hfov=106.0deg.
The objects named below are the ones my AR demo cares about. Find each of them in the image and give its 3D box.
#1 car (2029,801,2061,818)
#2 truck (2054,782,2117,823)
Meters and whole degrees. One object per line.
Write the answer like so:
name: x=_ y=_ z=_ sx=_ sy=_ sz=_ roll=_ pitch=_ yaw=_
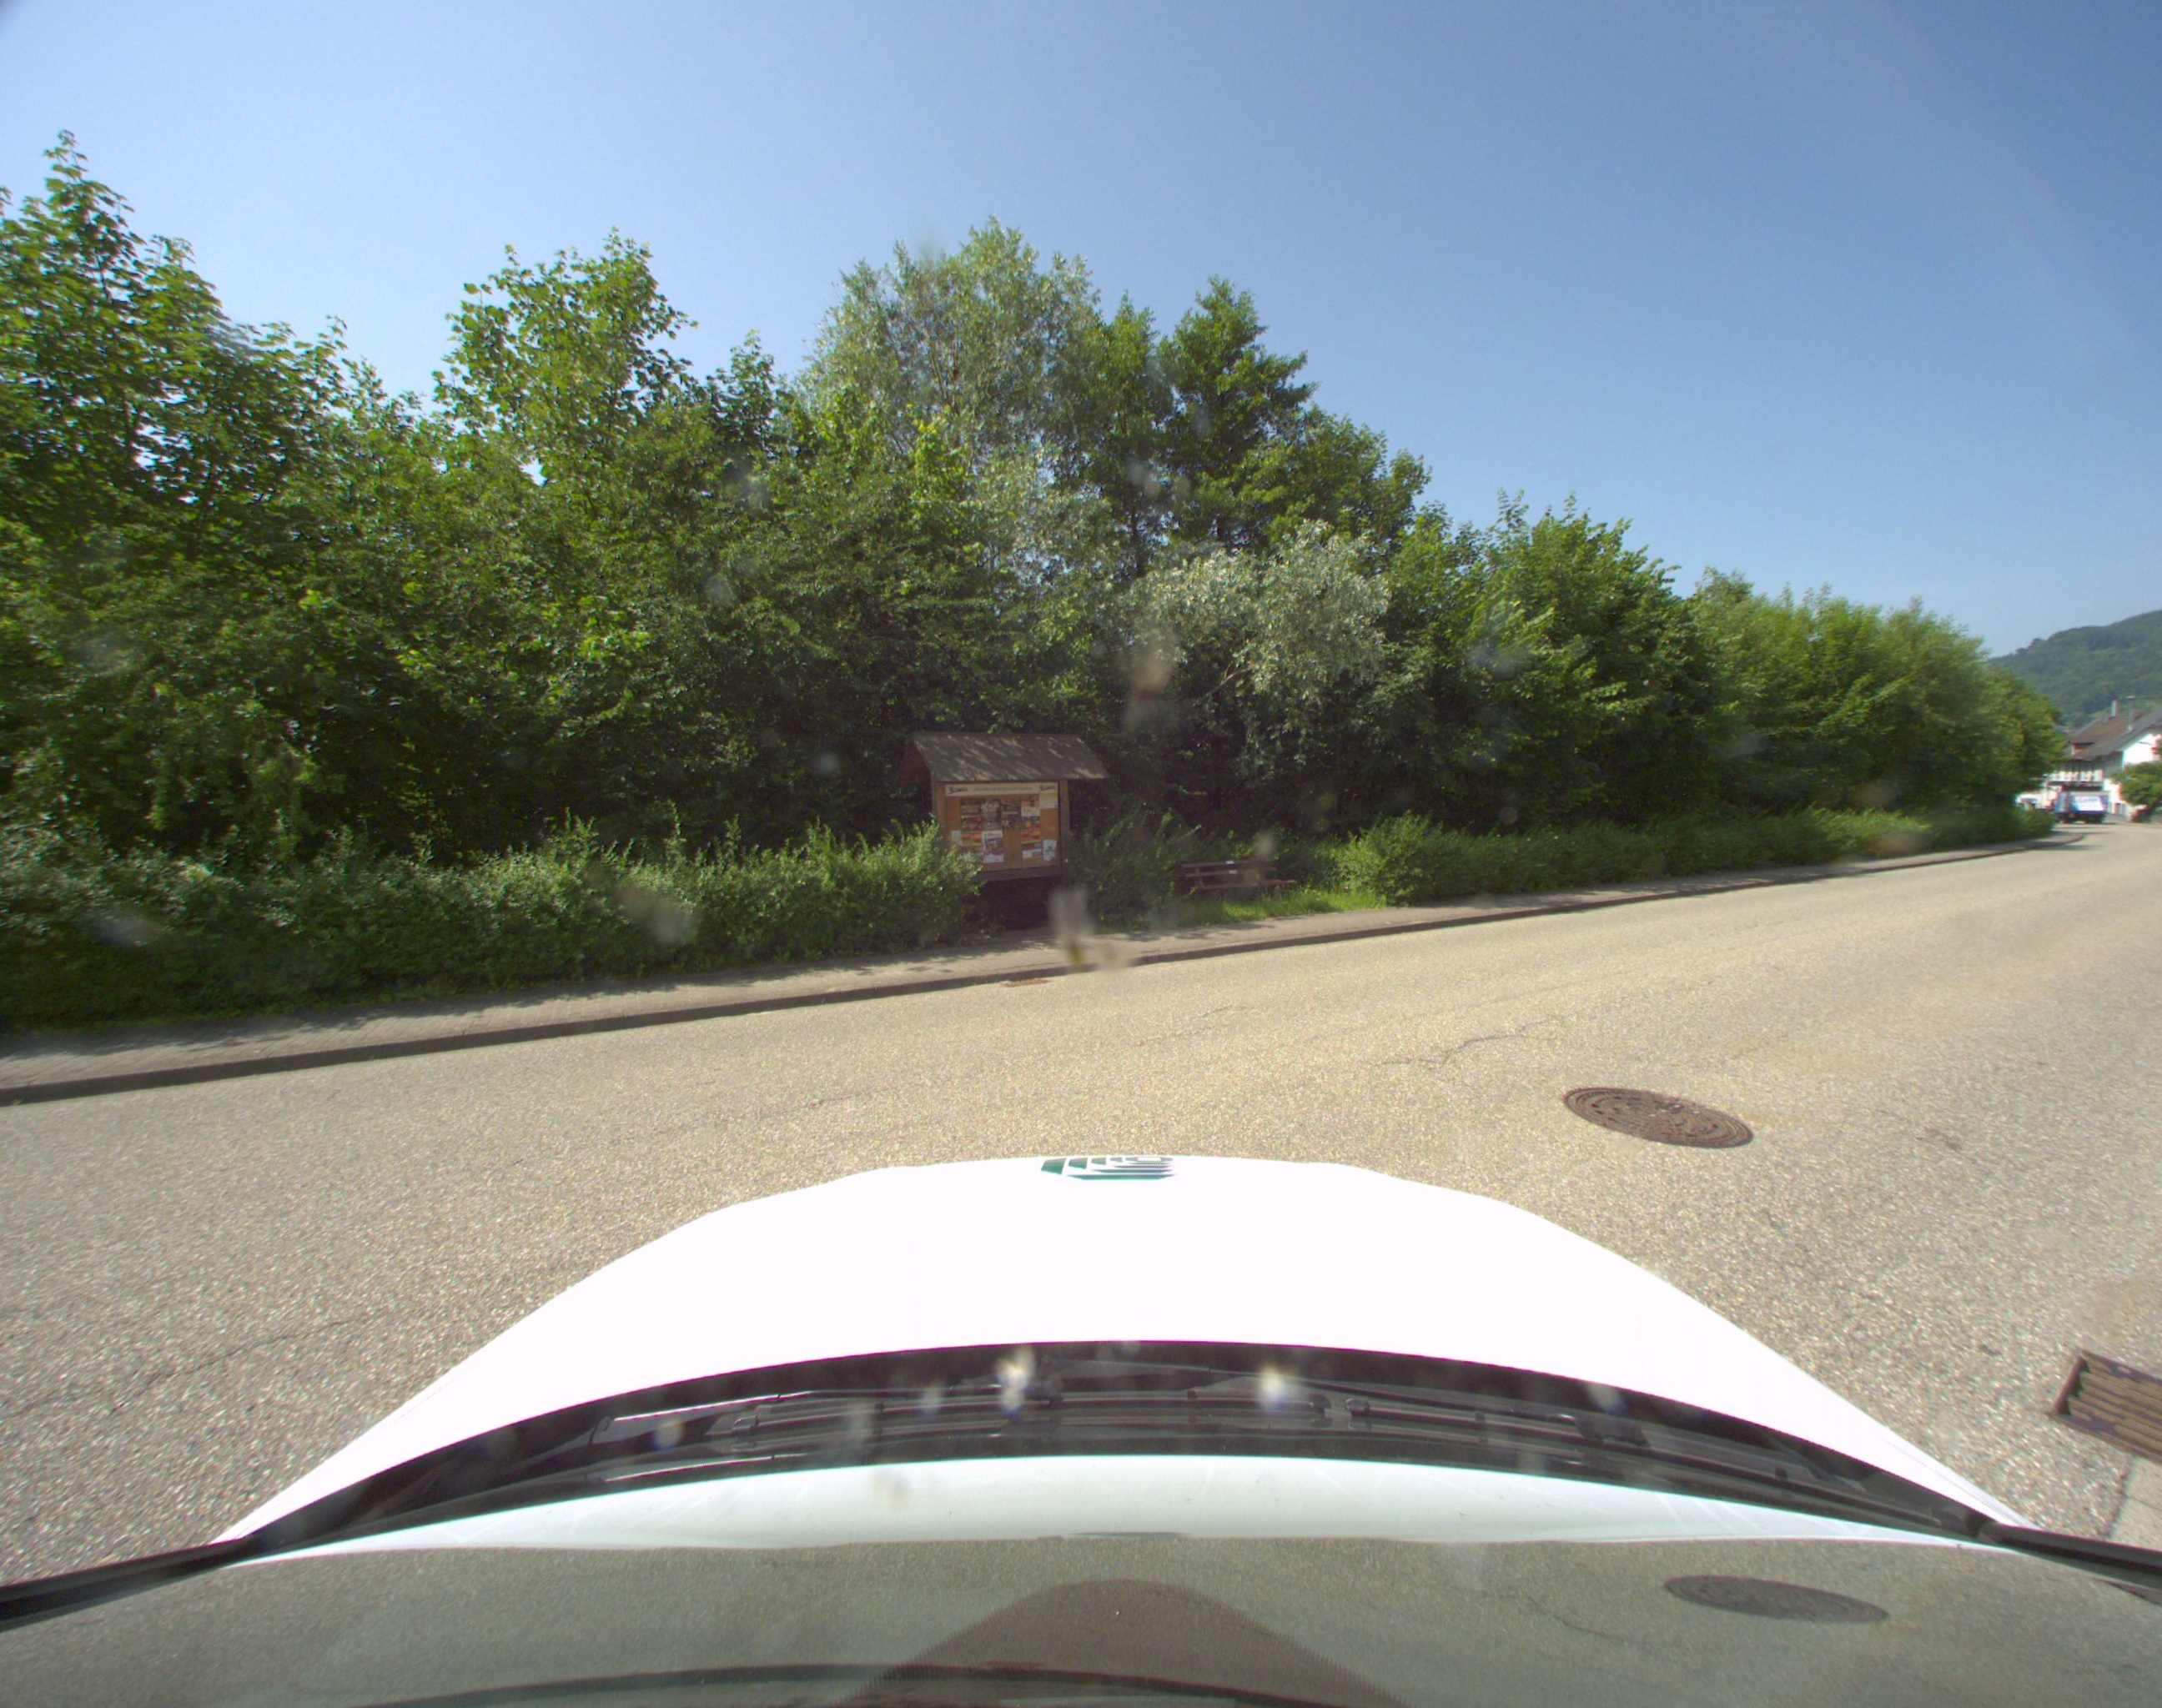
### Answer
car: x=119.738 y=-5.470 z=101.210 sx=1.974 sy=1.882 sz=4.024 roll=-3 pitch=-2 yaw=43
truck: x=105.817 y=-5.299 z=85.908 sx=8.488 sy=3.782 sz=3.332 roll=-1 pitch=-2 yaw=-43
